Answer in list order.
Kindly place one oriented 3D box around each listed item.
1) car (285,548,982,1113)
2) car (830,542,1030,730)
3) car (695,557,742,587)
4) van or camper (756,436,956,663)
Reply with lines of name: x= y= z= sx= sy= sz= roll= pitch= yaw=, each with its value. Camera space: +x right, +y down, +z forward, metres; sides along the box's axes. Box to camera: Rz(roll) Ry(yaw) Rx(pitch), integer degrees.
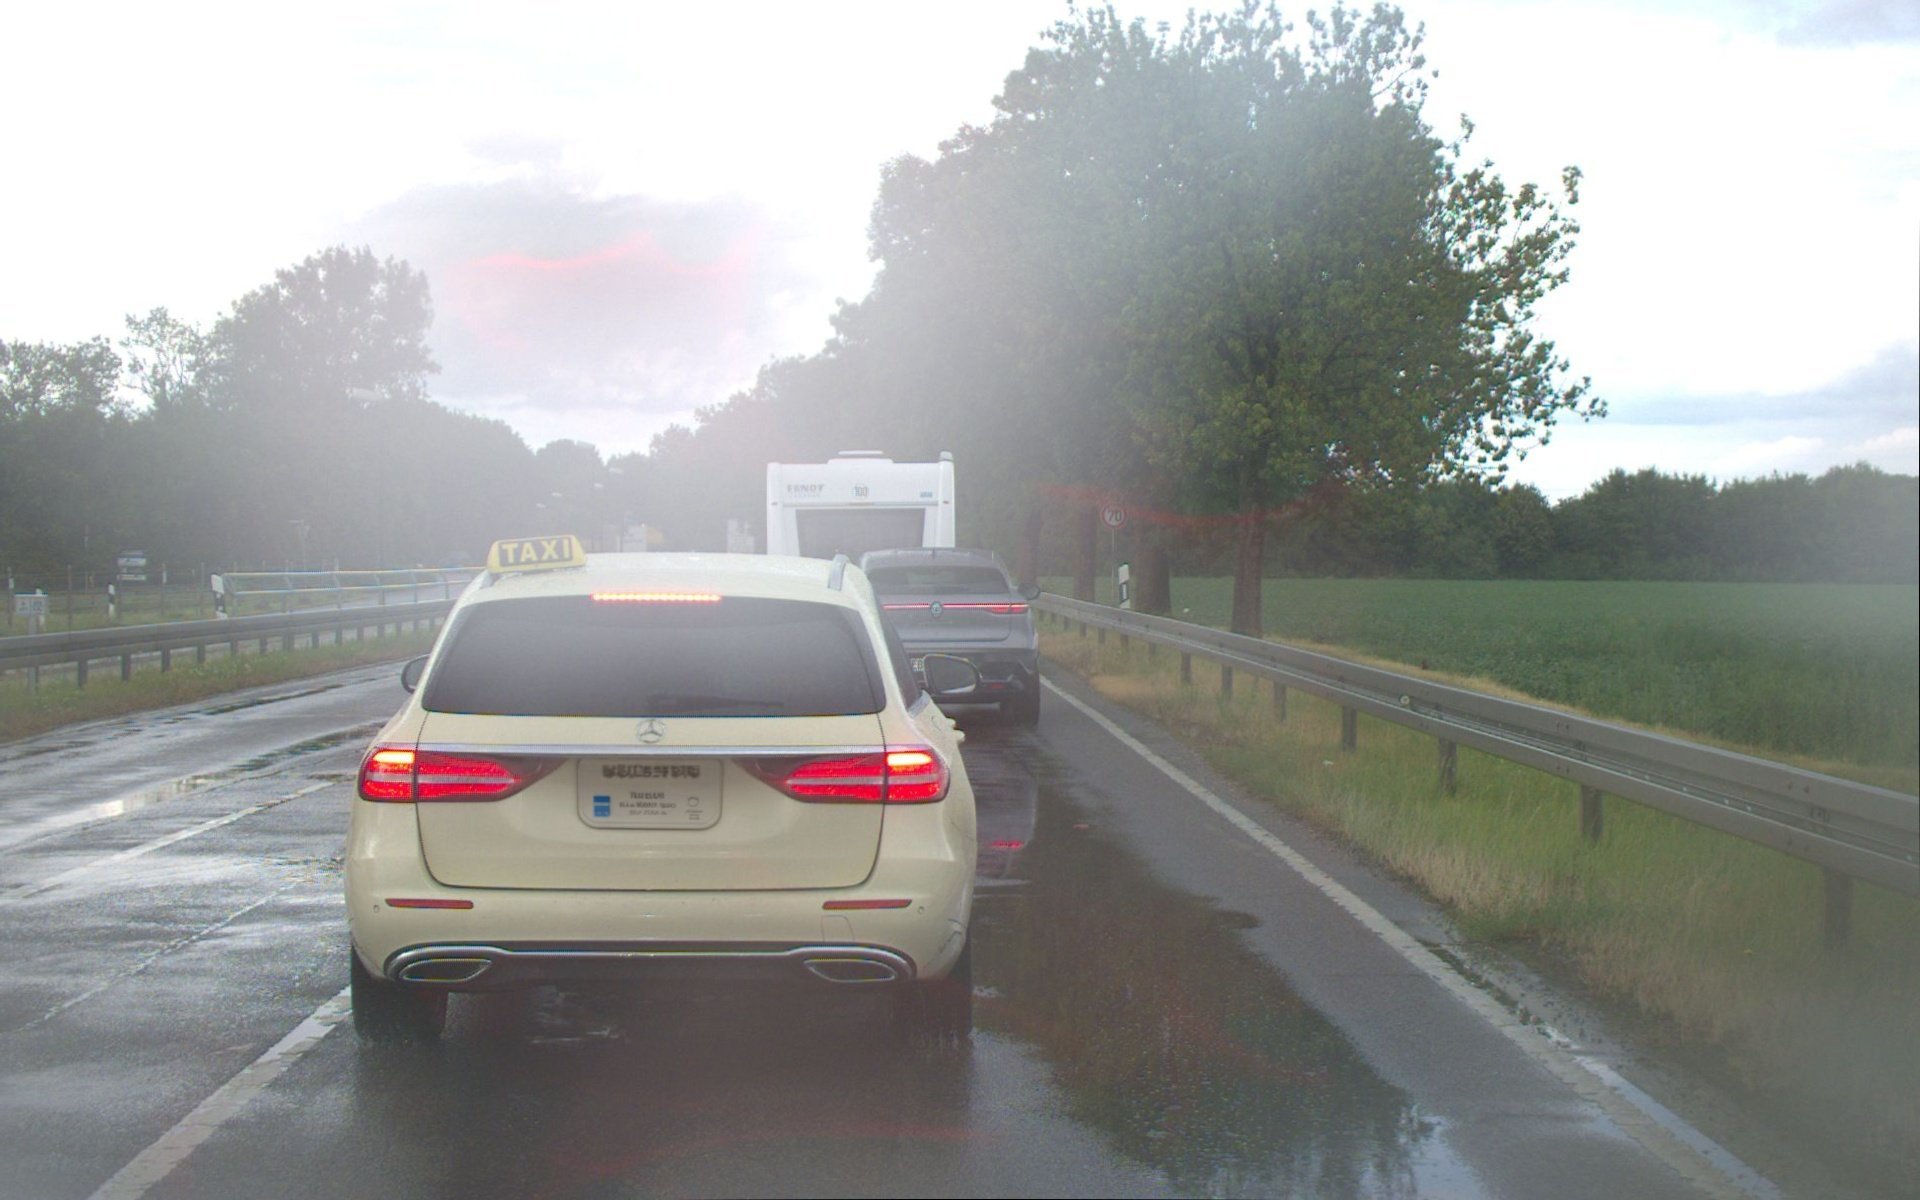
car: x=-0.855 y=0.581 z=11.193 sx=1.825 sy=1.480 sz=4.145 roll=1 pitch=1 yaw=1
car: x=-0.264 y=0.264 z=30.077 sx=1.627 sy=1.524 sz=3.933 roll=0 pitch=1 yaw=-1
car: x=-10.296 y=-1.204 z=146.587 sx=1.758 sy=1.265 sz=4.000 roll=0 pitch=1 yaw=-1
van or camper: x=-1.260 y=-0.663 z=43.647 sx=2.350 sy=2.671 sz=5.769 roll=0 pitch=1 yaw=-1
